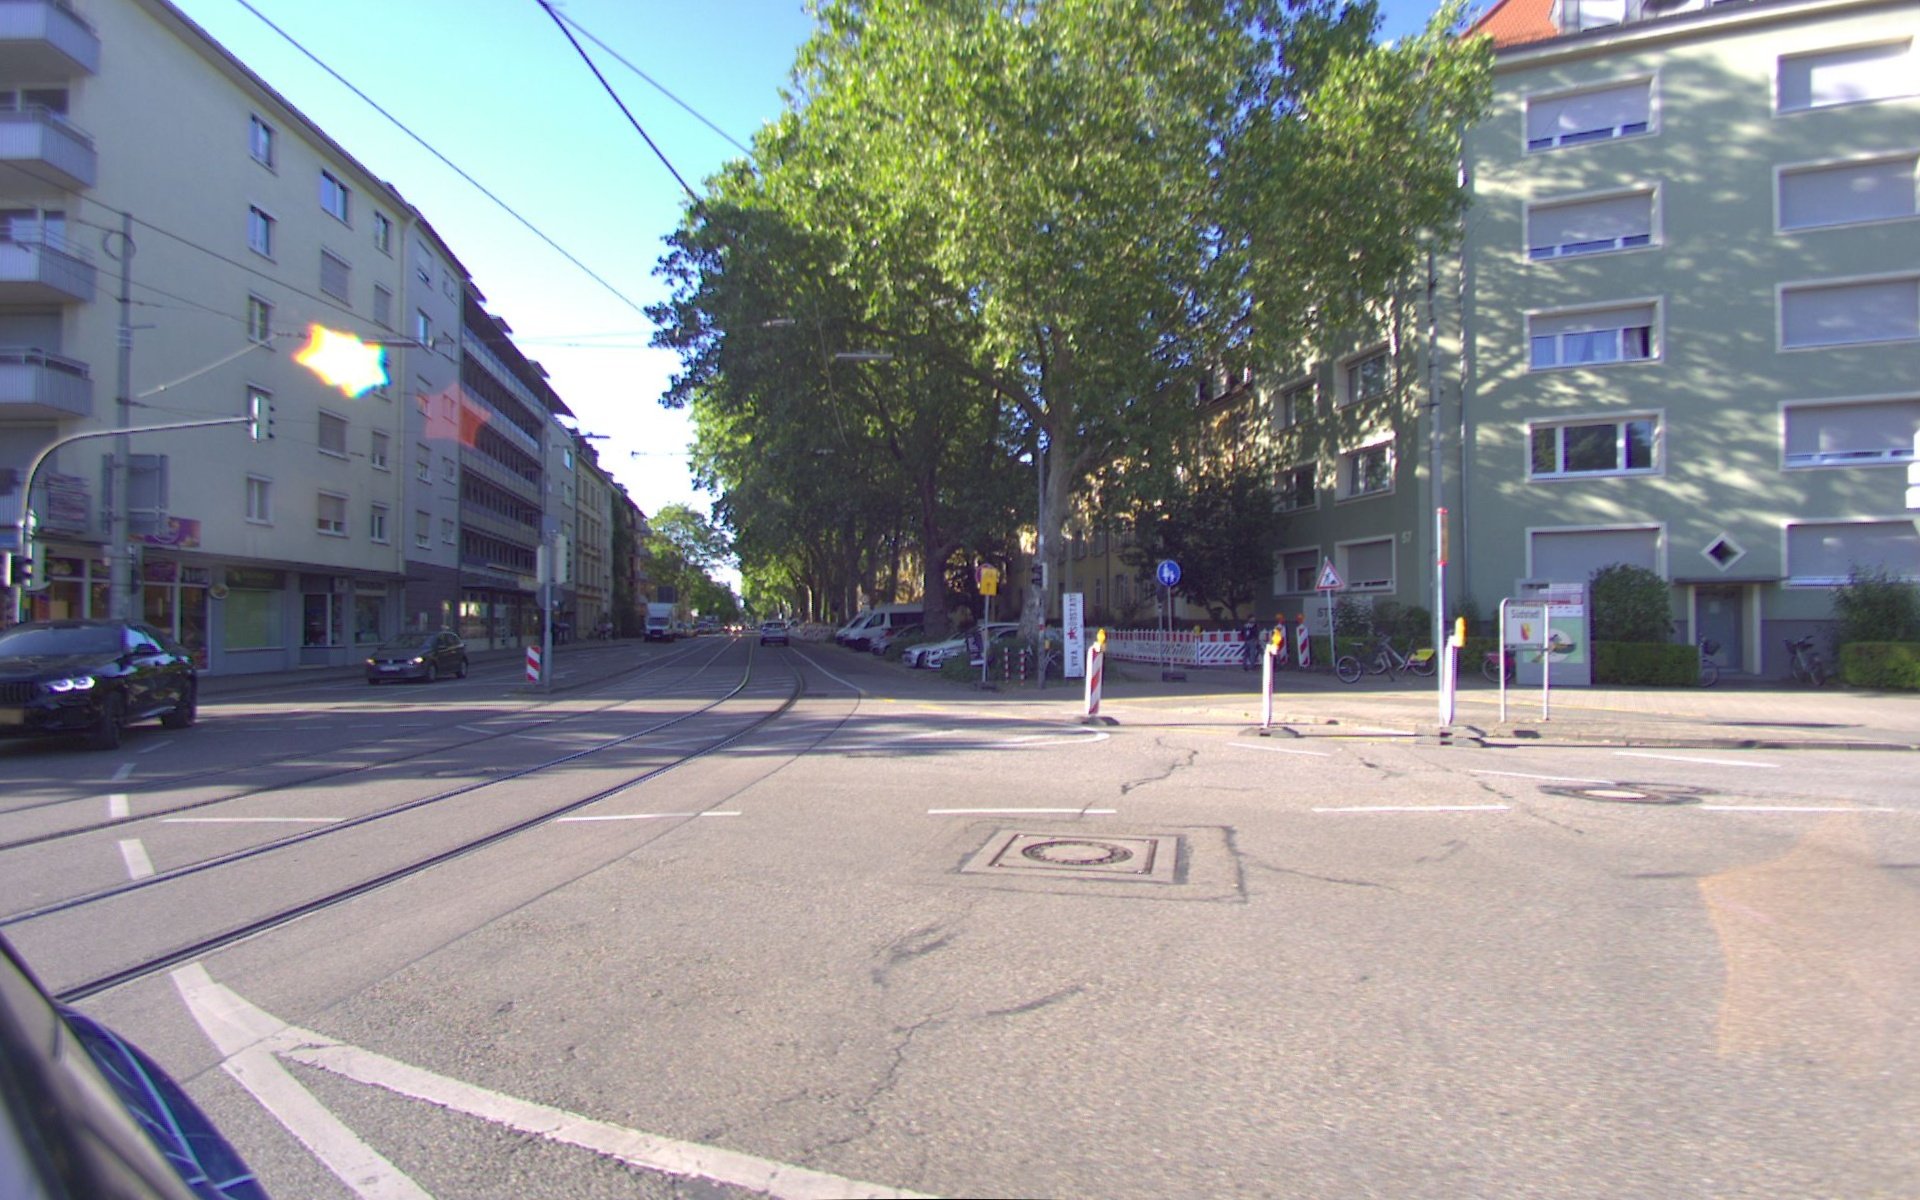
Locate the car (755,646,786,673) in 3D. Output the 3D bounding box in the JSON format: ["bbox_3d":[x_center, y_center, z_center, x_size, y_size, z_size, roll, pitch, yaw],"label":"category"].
[{"bbox_3d":[-12.544,3.928,67.143,1.968,1.644,4.640,0,-2,-10],"label":"car"}]

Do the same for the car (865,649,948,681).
[{"bbox_3d":[-2.839,3.422,53.433,4.212,1.457,1.696,-1,-1,-8],"label":"car"}]

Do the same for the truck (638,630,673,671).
[{"bbox_3d":[-24.476,4.013,81.515,2.306,3.137,5.226,-1,-1,-13],"label":"truck"}]

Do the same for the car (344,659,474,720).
[{"bbox_3d":[-15.617,2.499,28.920,1.902,1.416,3.945,-1,-1,-6],"label":"car"}]

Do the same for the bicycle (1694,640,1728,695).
[{"bbox_3d":[17.283,1.534,23.305,0.356,1.215,1.499,-2,-2,27],"label":"bicycle"}]

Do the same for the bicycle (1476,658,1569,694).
[{"bbox_3d":[12.617,1.702,22.750,1.769,0.765,0.355,-2,-2,23],"label":"bicycle"}]

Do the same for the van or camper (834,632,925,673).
[{"bbox_3d":[-5.234,3.383,65.376,5.675,2.403,2.160,-1,-1,-9],"label":"van or camper"}]

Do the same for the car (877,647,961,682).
[{"bbox_3d":[-1.963,3.050,48.239,3.803,1.457,1.696,-1,-1,-8],"label":"car"}]

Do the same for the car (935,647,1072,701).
[{"bbox_3d":[1.332,2.293,31.794,3.933,1.428,1.709,-1,-1,-14],"label":"car"}]

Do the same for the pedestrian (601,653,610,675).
[{"bbox_3d":[-27.129,4.881,77.514,0.532,1.685,0.631,0,-2,-8],"label":"pedestrian"}]

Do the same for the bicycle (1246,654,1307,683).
[{"bbox_3d":[8.837,1.907,28.334,0.352,0.765,1.785,1,-2,-35],"label":"bicycle"}]

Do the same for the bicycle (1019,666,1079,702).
[{"bbox_3d":[2.351,2.192,26.578,1.546,0.895,0.359,0,-2,-19],"label":"bicycle"}]

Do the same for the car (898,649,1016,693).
[{"bbox_3d":[-0.147,2.545,36.653,4.019,1.379,1.847,-1,-1,-8],"label":"car"}]

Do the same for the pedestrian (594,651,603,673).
[{"bbox_3d":[-28.272,4.835,79.238,0.532,1.735,0.631,0,-2,-8],"label":"pedestrian"}]

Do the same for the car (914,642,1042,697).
[{"bbox_3d":[0.553,2.313,34.081,4.019,1.624,1.847,-1,-1,-8],"label":"car"}]

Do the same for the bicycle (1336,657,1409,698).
[{"bbox_3d":[9.496,1.777,23.282,1.749,0.895,0.359,0,-2,-19],"label":"bicycle"}]

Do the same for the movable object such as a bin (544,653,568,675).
[{"bbox_3d":[-27.112,4.315,67.926,1.185,1.421,1.374,0,-2,-8],"label":"movable object such as a bin"}]

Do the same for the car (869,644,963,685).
[{"bbox_3d":[-2.025,2.895,45.605,4.019,1.631,1.847,-1,-1,-8],"label":"car"}]

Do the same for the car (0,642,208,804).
[{"bbox_3d":[-12.212,1.515,13.843,1.898,1.766,4.699,1,-1,-22],"label":"car"}]

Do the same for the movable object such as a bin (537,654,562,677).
[{"bbox_3d":[-26.722,4.263,65.892,1.185,1.421,1.374,-1,-2,-8],"label":"movable object such as a bin"}]

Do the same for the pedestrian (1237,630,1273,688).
[{"bbox_3d":[8.216,1.634,28.200,0.592,1.580,0.744,1,-3,-35],"label":"pedestrian"}]

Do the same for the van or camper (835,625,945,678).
[{"bbox_3d":[-3.907,2.836,56.058,5.841,2.668,2.160,-1,-1,-9],"label":"van or camper"}]

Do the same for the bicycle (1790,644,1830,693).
[{"bbox_3d":[19.775,1.576,23.558,0.356,1.096,1.499,-2,-2,27],"label":"bicycle"}]

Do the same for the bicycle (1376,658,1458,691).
[{"bbox_3d":[11.076,1.793,24.563,1.779,0.765,0.353,-2,-3,40],"label":"bicycle"}]
